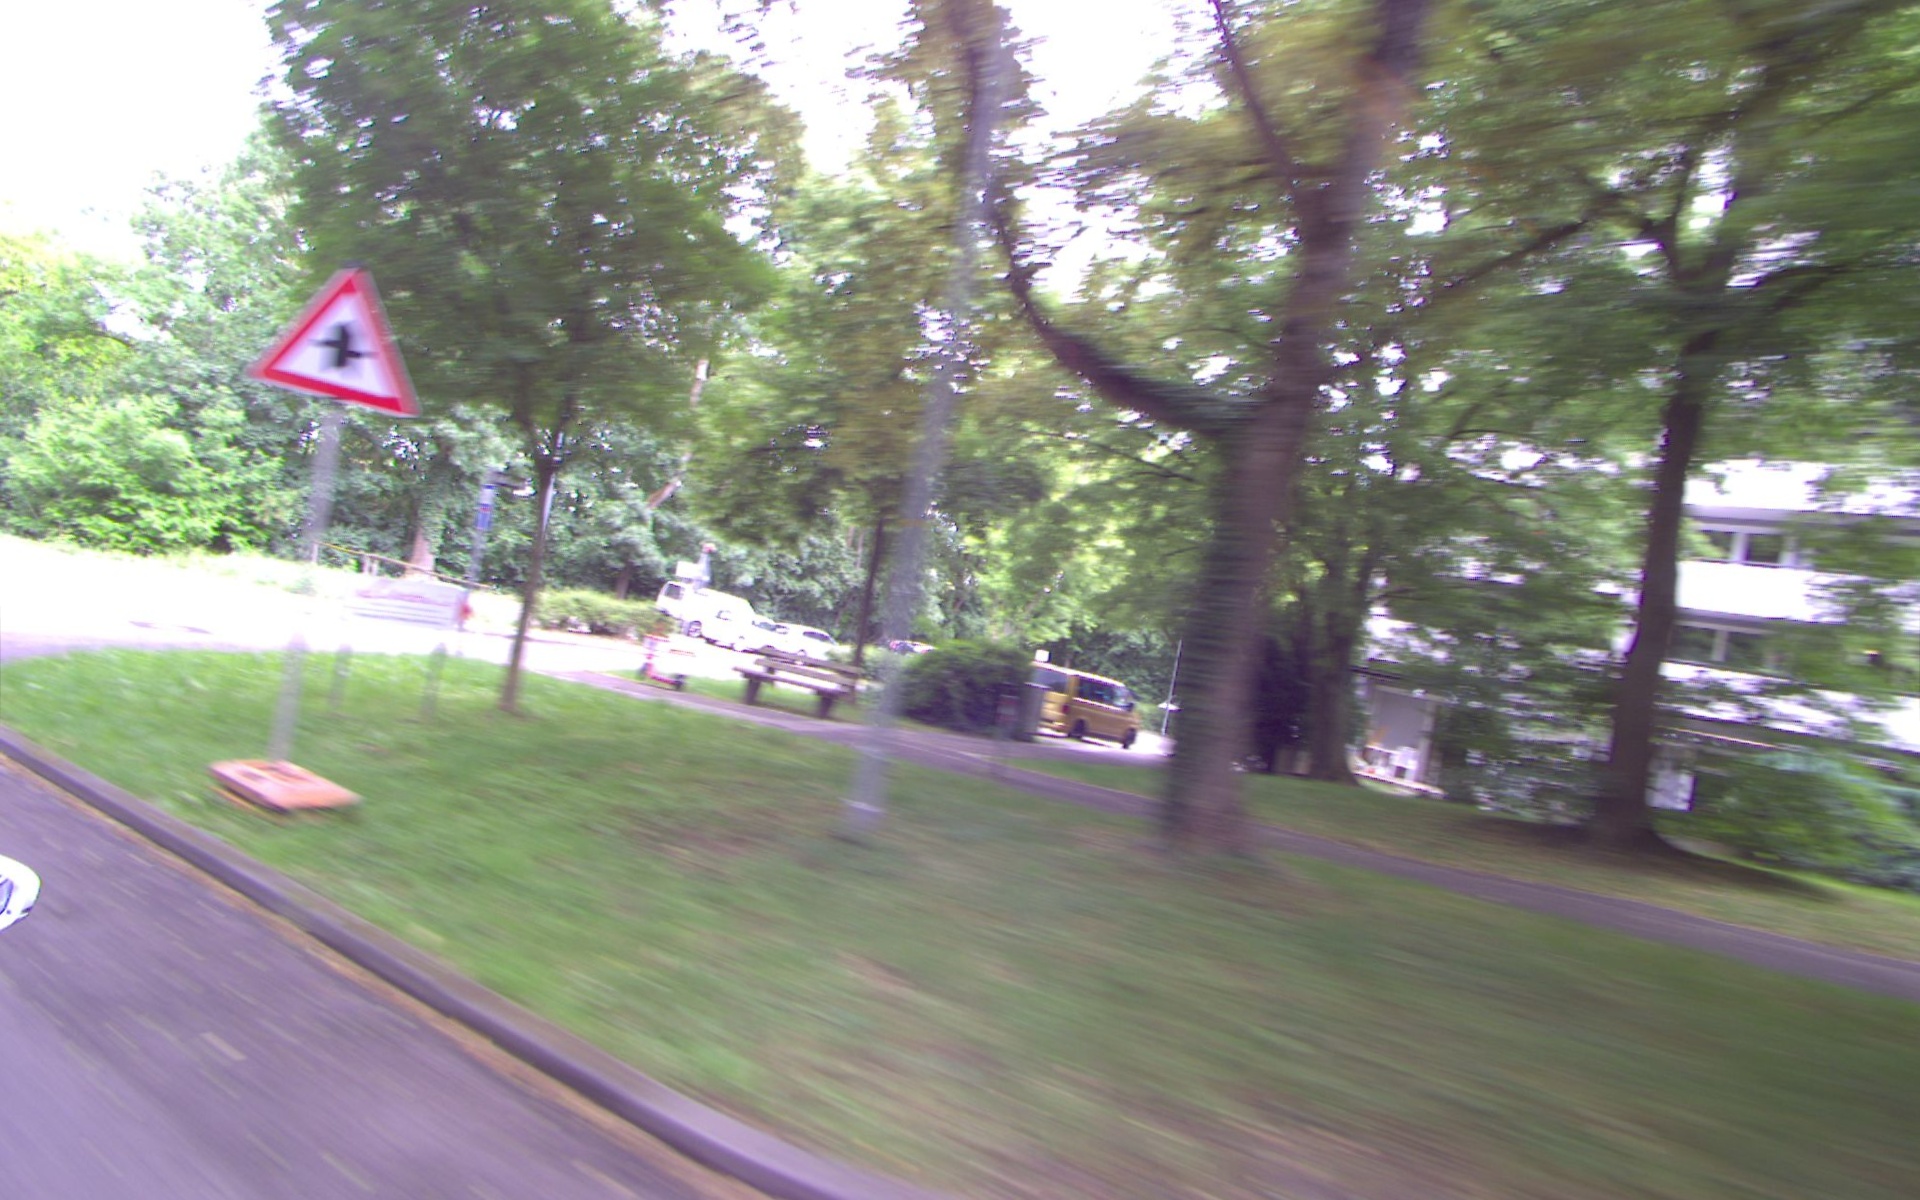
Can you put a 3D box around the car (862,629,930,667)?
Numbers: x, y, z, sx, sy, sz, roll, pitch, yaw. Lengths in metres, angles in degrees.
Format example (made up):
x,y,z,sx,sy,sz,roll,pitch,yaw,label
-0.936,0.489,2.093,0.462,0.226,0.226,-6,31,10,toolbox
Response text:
x,y,z,sx,sy,sz,roll,pitch,yaw,label
-3.531,2.702,56.386,1.804,1.587,3.522,8,-3,36,car

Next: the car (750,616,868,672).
x,y,z,sx,sy,sz,roll,pitch,yaw,label
-5.577,1.674,37.556,1.772,1.515,4.211,7,-3,36,car

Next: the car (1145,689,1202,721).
x,y,z,sx,sy,sz,roll,pitch,yaw,label
13.106,6.431,61.620,1.772,1.515,4.211,7,-3,36,car

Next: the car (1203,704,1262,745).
x,y,z,sx,sy,sz,roll,pitch,yaw,label
16.373,7.478,60.370,1.969,2.036,3.993,7,-3,35,car

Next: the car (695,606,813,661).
x,y,z,sx,sy,sz,roll,pitch,yaw,label
-7.828,1.329,38.630,1.772,1.515,4.211,7,-3,36,car

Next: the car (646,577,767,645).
x,y,z,sx,sy,sz,roll,pitch,yaw,label
-10.120,0.469,40.390,1.969,2.036,4.211,7,-3,36,car

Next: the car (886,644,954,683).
x,y,z,sx,sy,sz,roll,pitch,yaw,label
-2.131,3.443,54.505,1.741,1.587,3.522,8,-3,36,car

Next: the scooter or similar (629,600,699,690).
x,y,z,sx,sy,sz,roll,pitch,yaw,label
-4.828,0.725,16.398,1.090,1.301,0.283,8,-2,34,scooter or similar

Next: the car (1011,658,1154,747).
x,y,z,sx,sy,sz,roll,pitch,yaw,label
3.625,3.013,29.094,1.806,1.867,4.402,8,-5,40,car
